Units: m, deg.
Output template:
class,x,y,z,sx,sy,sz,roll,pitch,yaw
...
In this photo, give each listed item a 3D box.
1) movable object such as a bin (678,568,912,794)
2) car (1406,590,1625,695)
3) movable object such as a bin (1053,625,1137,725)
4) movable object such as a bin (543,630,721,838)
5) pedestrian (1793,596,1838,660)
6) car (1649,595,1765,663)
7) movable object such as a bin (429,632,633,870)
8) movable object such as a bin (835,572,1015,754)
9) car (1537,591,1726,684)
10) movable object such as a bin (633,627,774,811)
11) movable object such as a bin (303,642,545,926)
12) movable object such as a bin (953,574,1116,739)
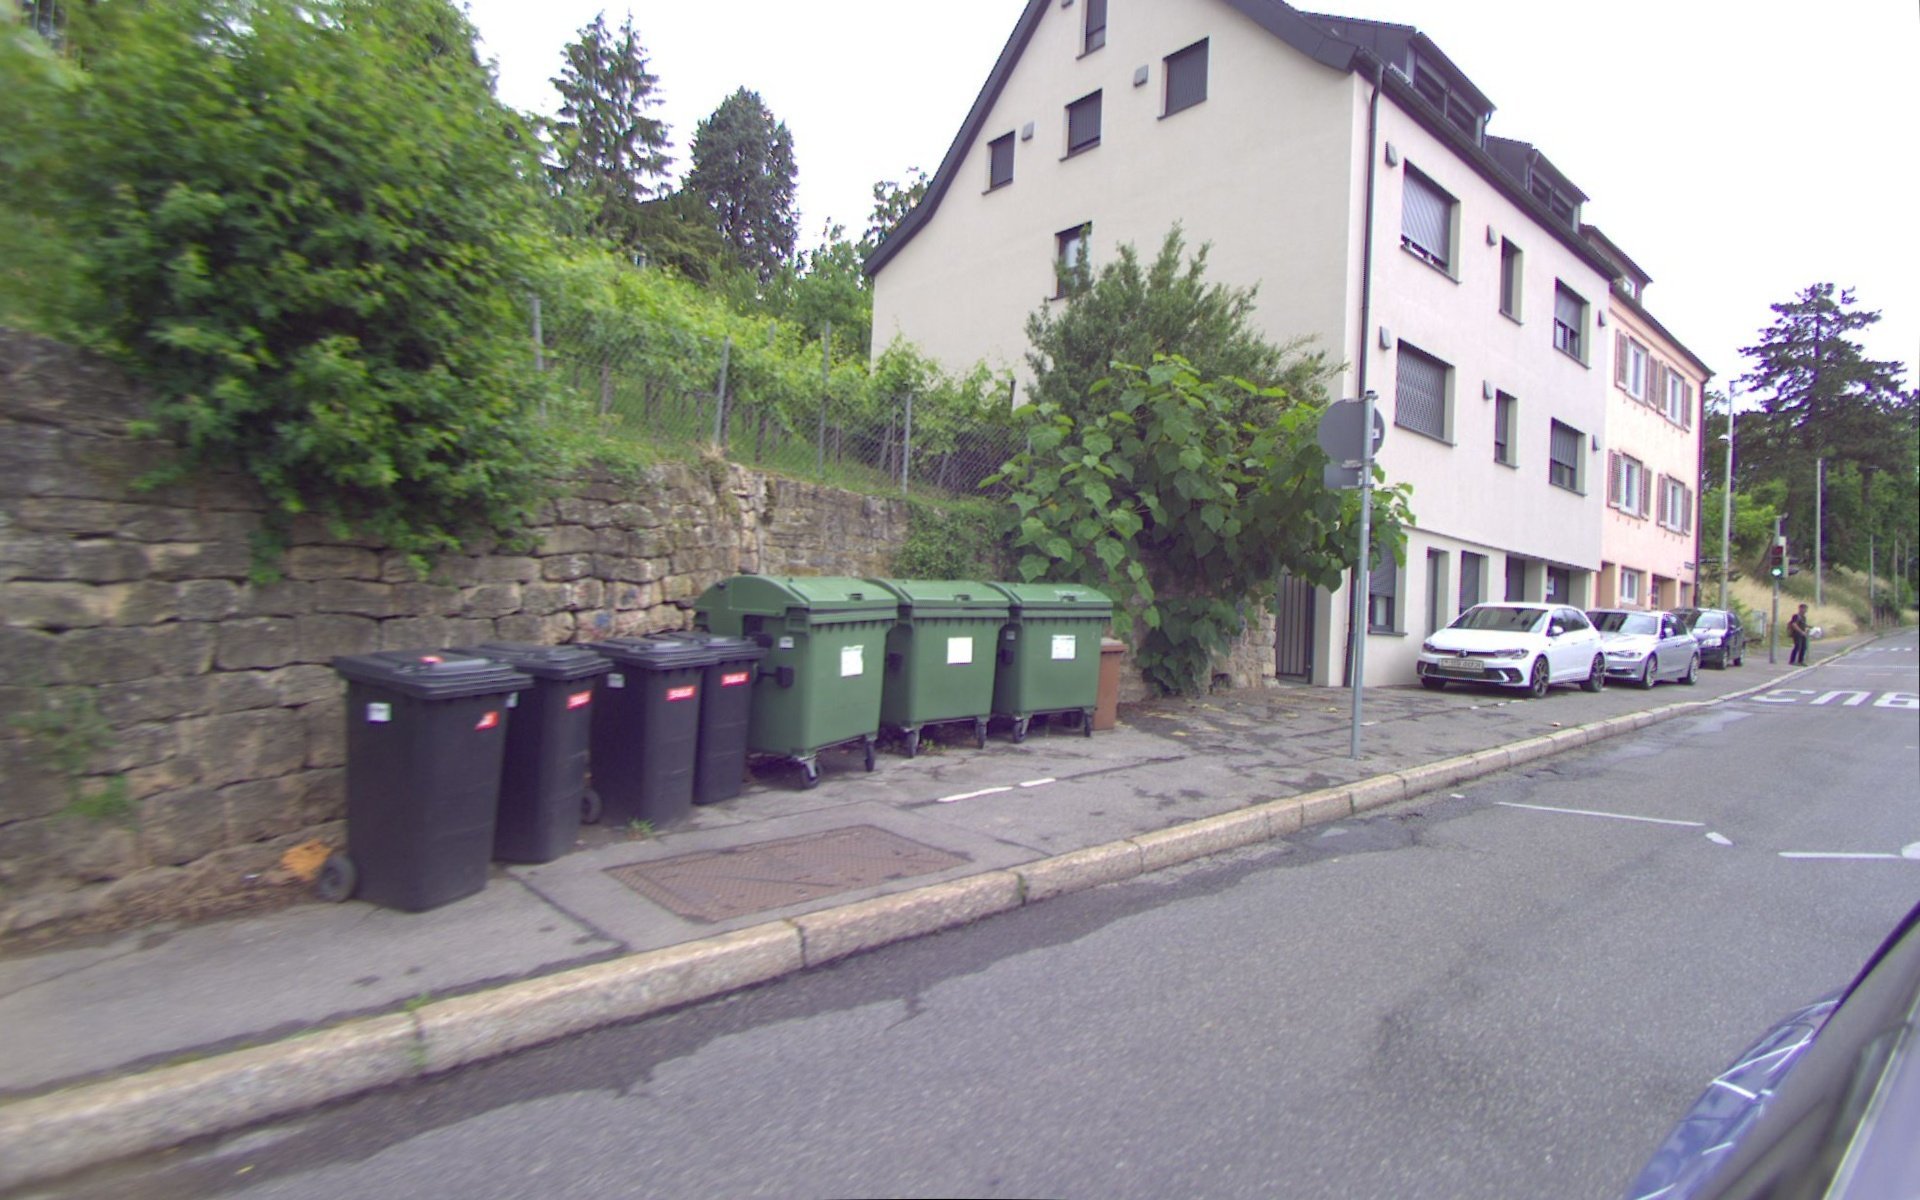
class,x,y,z,sx,sy,sz,roll,pitch,yaw
movable object such as a bin,-1.173,0.509,7.435,1.042,1.463,1.403,1,1,31
car,9.079,0.614,16.425,3.934,1.441,1.798,1,2,-41
movable object such as a bin,1.395,0.748,10.444,0.629,0.954,0.595,0,1,-43
movable object such as a bin,-1.909,0.735,5.914,0.739,1.072,0.672,1,1,31
pedestrian,23.696,0.756,28.050,0.867,1.717,0.879,0,0,35
car,19.074,0.685,25.777,3.934,1.468,1.684,0,4,-44
movable object such as a bin,-2.216,0.725,5.251,0.739,1.072,0.672,1,1,31
movable object such as a bin,-0.301,0.492,8.910,1.047,1.463,1.186,1,1,44
car,12.988,0.682,19.461,4.635,1.468,1.798,2,3,-41
movable object such as a bin,-1.652,0.733,6.528,0.706,1.072,0.541,1,1,31
movable object such as a bin,-2.378,0.751,4.511,0.739,1.072,0.672,1,1,31
movable object such as a bin,0.722,0.488,9.791,1.185,1.463,1.049,0,1,-43
